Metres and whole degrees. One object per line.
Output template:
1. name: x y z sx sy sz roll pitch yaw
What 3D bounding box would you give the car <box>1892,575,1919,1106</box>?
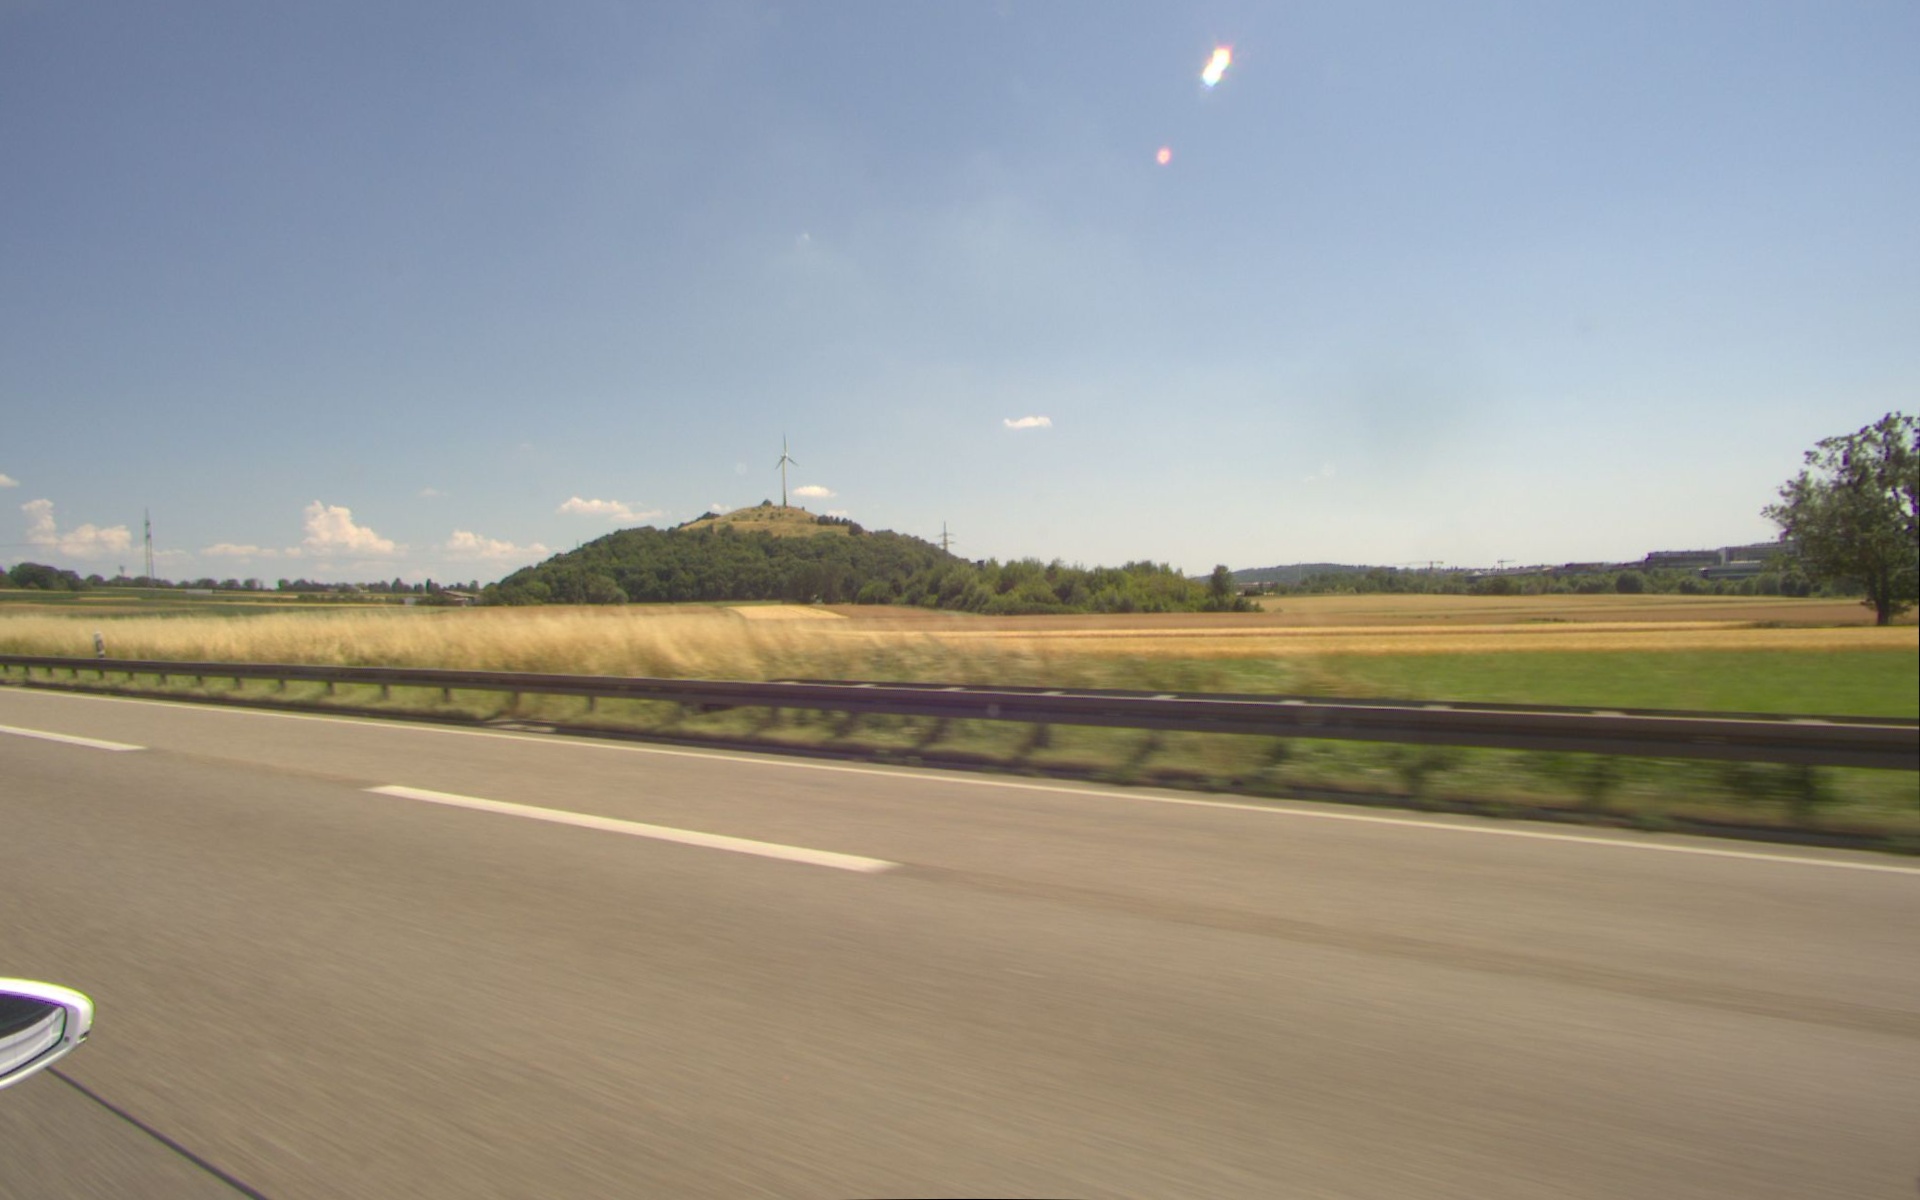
1. car: 4.439 0.715 1.520 4.112 1.666 1.829 -1 -2 31

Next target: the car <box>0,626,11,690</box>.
1. car: -24.585 1.371 24.049 4.475 1.489 1.757 -1 -2 35
